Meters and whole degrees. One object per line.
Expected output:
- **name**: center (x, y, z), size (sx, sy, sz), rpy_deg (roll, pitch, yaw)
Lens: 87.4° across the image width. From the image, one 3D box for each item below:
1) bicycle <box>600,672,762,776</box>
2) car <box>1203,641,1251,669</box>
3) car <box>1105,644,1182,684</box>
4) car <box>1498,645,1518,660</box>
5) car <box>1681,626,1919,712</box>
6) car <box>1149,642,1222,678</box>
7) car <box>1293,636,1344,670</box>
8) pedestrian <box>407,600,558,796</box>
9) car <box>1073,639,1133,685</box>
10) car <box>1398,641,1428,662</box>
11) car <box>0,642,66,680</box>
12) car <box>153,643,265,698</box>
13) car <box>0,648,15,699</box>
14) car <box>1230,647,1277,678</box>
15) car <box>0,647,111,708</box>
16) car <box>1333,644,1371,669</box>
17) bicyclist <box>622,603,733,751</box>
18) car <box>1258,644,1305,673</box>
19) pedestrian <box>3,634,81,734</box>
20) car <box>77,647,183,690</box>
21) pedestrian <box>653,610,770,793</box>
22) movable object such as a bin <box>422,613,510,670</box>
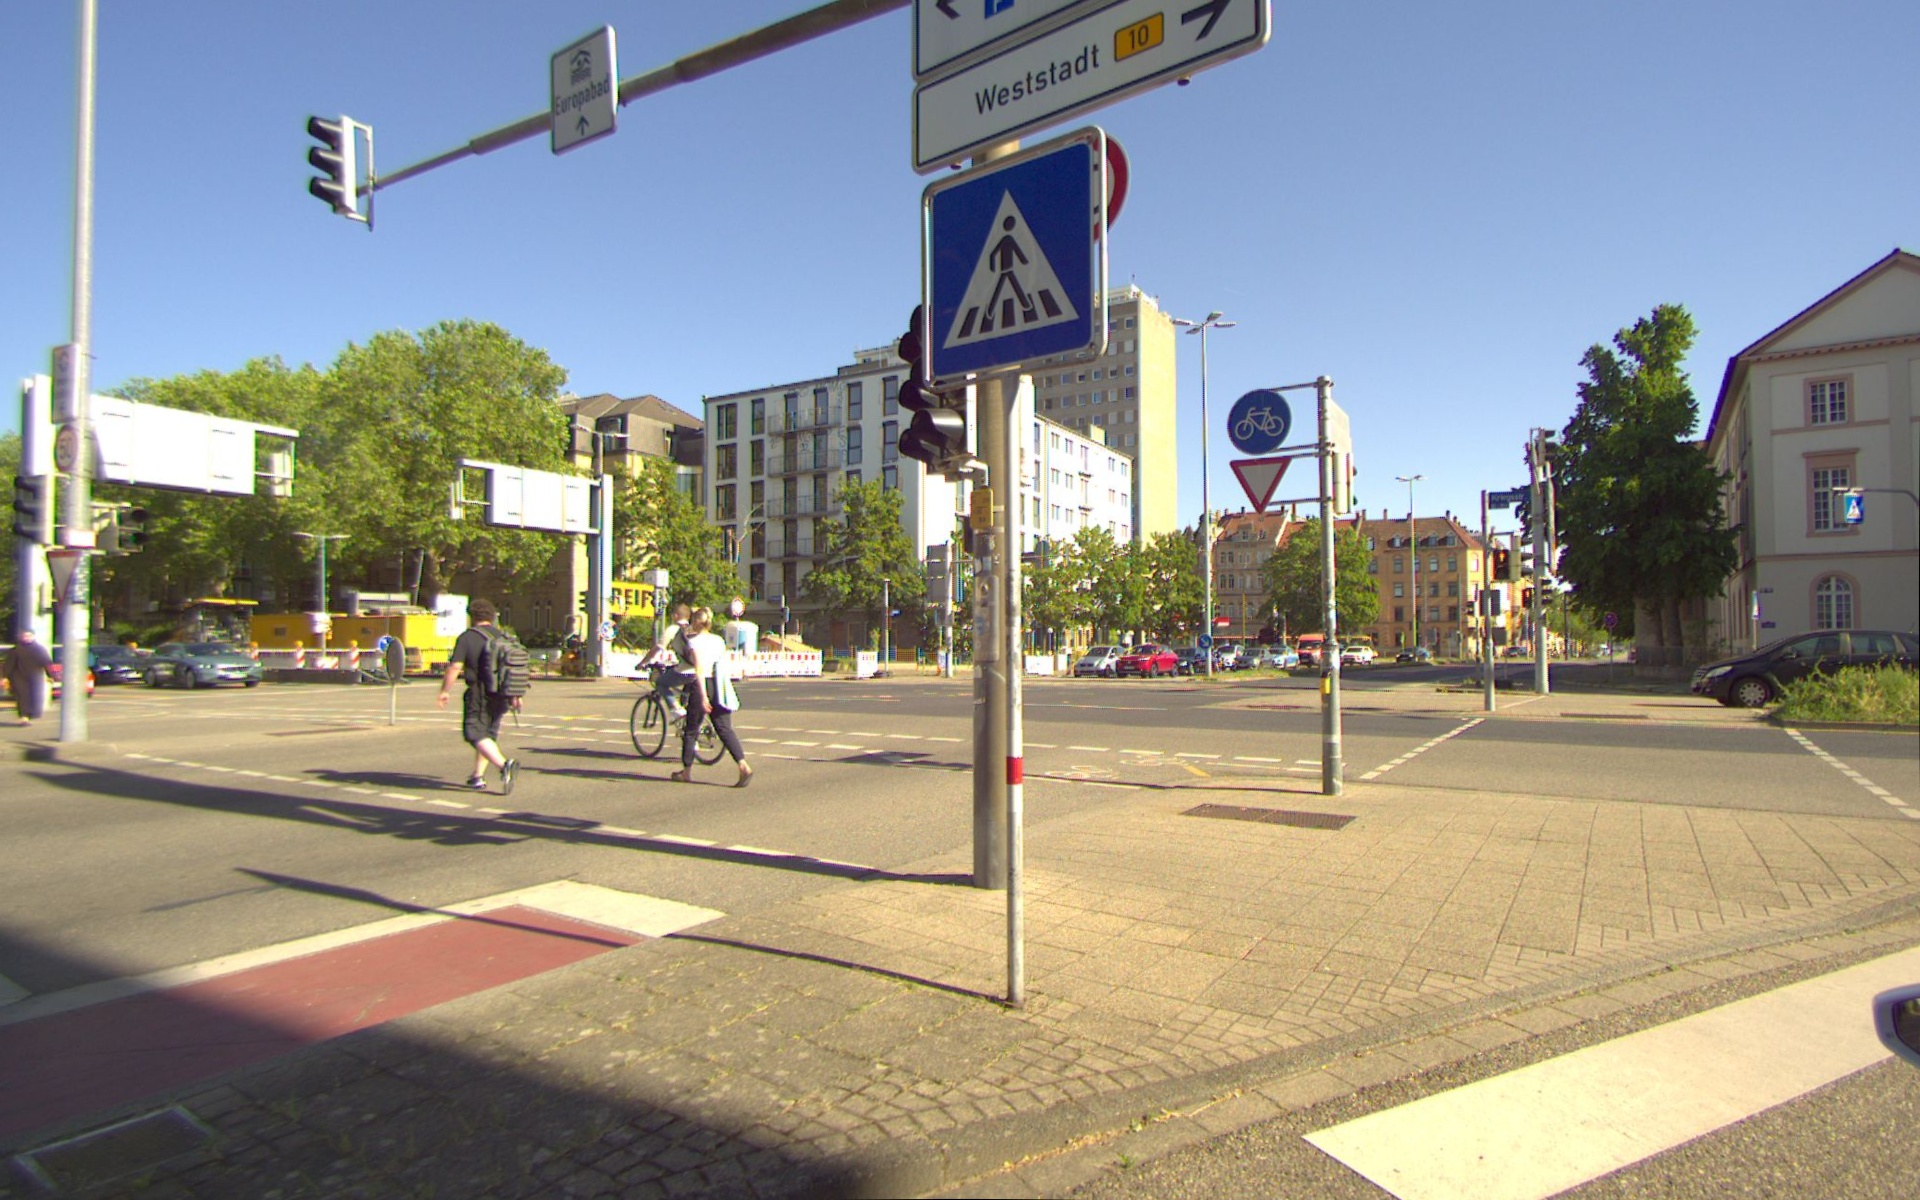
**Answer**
- **bicycle**: center (-3.118, 1.326, 11.131), size (1.875, 1.003, 0.862), rpy_deg (-3, -3, 42)
- **car**: center (17.724, 3.614, 66.594), size (1.886, 1.639, 3.989), rpy_deg (2, 0, 33)
- **car**: center (8.593, 2.940, 46.808), size (1.888, 1.639, 3.985), rpy_deg (2, 0, 37)
- **car**: center (64.121, 6.115, 117.453), size (1.822, 1.728, 3.991), rpy_deg (-2, -2, 32)
- **car**: center (17.356, 1.363, 20.358), size (4.200, 1.606, 1.861), rpy_deg (-2, -2, 28)
- **car**: center (11.795, 3.105, 52.304), size (1.888, 1.639, 4.693), rpy_deg (2, 0, 37)
- **car**: center (26.284, 3.797, 73.496), size (1.888, 2.260, 5.879), rpy_deg (2, 0, 37)
- **pedestrian**: center (-4.237, 0.845, 8.990), size (0.966, 1.665, 0.797), rpy_deg (2, 0, -6)
- **car**: center (7.175, 3.061, 50.139), size (1.961, 2.040, 3.998), rpy_deg (2, 0, 23)
- **car**: center (44.125, 4.954, 97.794), size (1.966, 1.840, 3.988), rpy_deg (2, 0, 34)
- **car**: center (-40.535, 2.591, 43.073), size (3.924, 1.539, 1.883), rpy_deg (-1, -2, 25)
- **car**: center (-25.012, 2.292, 33.430), size (3.934, 1.539, 1.878), rpy_deg (2, 0, 36)
- **car**: center (-32.730, 2.350, 32.887), size (3.934, 1.539, 1.878), rpy_deg (2, 0, 36)
- **car**: center (17.615, 3.707, 60.157), size (1.535, 1.639, 3.989), rpy_deg (2, 0, 33)
- **car**: center (-25.709, 2.123, 28.269), size (3.935, 1.539, 1.878), rpy_deg (-2, -2, 36)
- **car**: center (33.137, 4.729, 84.827), size (1.888, 1.838, 4.695), rpy_deg (2, 0, 36)
- **bicyclist**: center (-3.123, 0.821, 11.120), size (0.841, 1.554, 0.866), rpy_deg (-1, -2, 42)
- **car**: center (21.121, 3.814, 65.877), size (1.885, 1.639, 4.702), rpy_deg (2, 0, 30)
- **pedestrian**: center (-16.030, 1.438, 17.542), size (0.710, 1.644, 0.894), rpy_deg (2, 0, 39)
- **car**: center (-30.996, 2.521, 37.511), size (3.930, 1.539, 1.881), rpy_deg (-2, -3, 31)
- **pedestrian**: center (-2.313, 0.924, 9.454), size (0.912, 1.629, 0.786), rpy_deg (2, 0, -6)
- **movable object such as a bin**: center (-23.686, 1.964, 48.165), size (3.930, 2.508, 1.995), rpy_deg (2, 0, 32)
